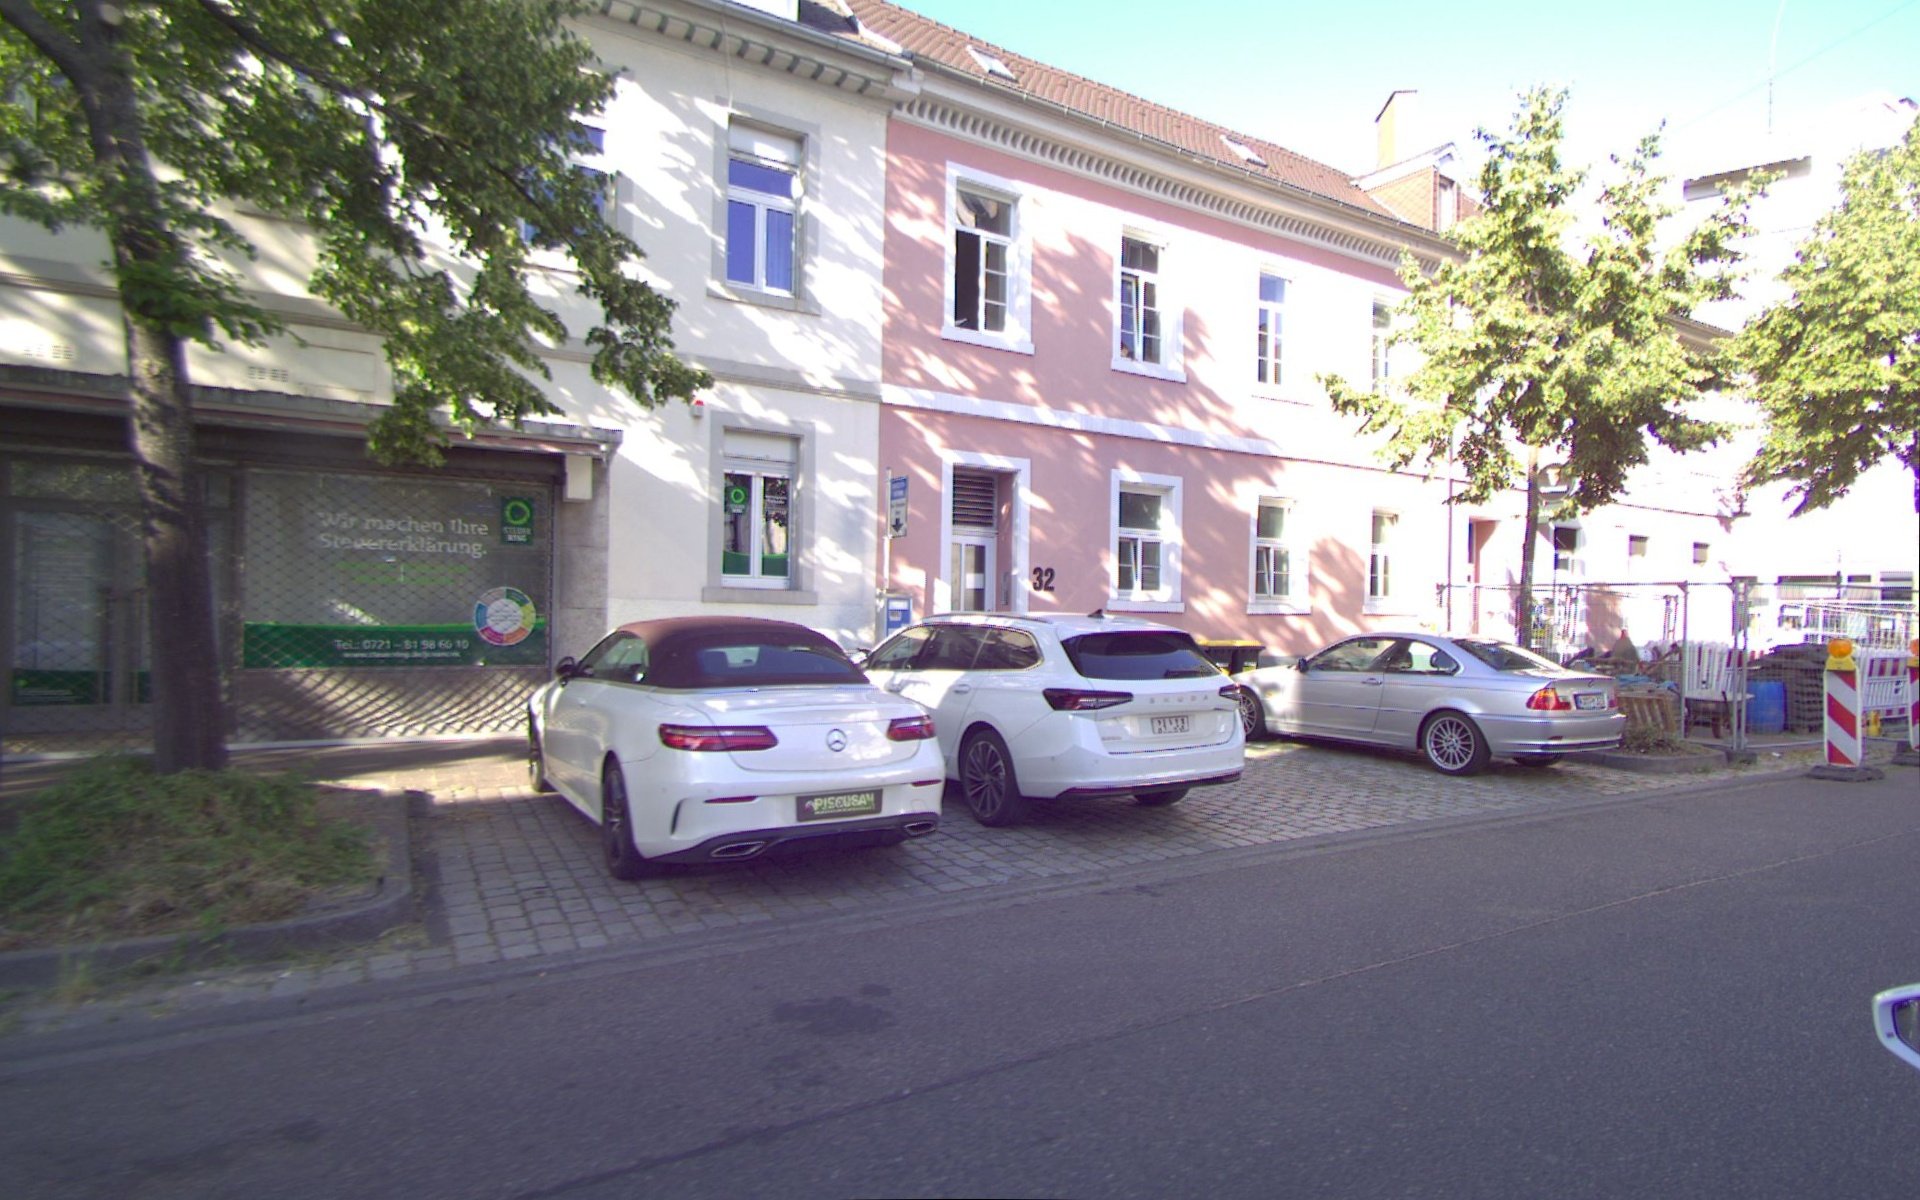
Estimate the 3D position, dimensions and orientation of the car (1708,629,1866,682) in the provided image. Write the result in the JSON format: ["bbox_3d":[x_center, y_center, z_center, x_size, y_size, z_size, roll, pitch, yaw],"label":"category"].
[{"bbox_3d":[27.287,1.795,33.281,3.939,1.632,1.991,-1,-2,39],"label":"car"}]

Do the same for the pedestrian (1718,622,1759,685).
[{"bbox_3d":[21.436,1.464,27.649,0.646,1.690,0.654,1,-1,-19],"label":"pedestrian"}]

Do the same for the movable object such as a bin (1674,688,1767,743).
[{"bbox_3d":[9.995,1.502,13.199,1.065,0.624,0.624,1,-2,-31],"label":"movable object such as a bin"}]

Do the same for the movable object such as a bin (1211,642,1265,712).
[{"bbox_3d":[4.397,1.203,15.898,0.538,1.074,0.629,1,-2,-29],"label":"movable object such as a bin"}]

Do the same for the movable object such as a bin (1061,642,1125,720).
[{"bbox_3d":[1.910,1.148,14.443,0.632,1.074,0.692,1,-2,-29],"label":"movable object such as a bin"}]

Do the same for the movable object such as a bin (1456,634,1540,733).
[{"bbox_3d":[6.880,1.042,12.849,0.739,1.202,0.725,1,-2,-39],"label":"movable object such as a bin"}]

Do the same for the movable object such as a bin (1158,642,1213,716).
[{"bbox_3d":[3.432,1.189,15.316,0.538,1.074,0.629,1,-2,-29],"label":"movable object such as a bin"}]

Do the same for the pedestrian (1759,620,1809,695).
[{"bbox_3d":[18.712,1.293,22.809,0.803,1.675,0.608,1,-1,-27],"label":"pedestrian"}]

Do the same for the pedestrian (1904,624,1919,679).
[{"bbox_3d":[29.797,1.591,31.017,0.680,1.665,0.769,1,-1,-25],"label":"pedestrian"}]

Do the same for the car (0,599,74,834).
[{"bbox_3d":[-6.451,0.728,5.152,1.786,1.483,4.661,1,-1,-28],"label":"car"}]

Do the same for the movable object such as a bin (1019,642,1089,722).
[{"bbox_3d":[1.311,1.129,14.082,0.723,1.074,0.692,1,-2,-29],"label":"movable object such as a bin"}]

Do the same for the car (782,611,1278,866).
[{"bbox_3d":[0.227,0.876,8.521,1.788,1.484,4.654,1,-1,-32],"label":"car"}]

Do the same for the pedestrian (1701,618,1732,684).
[{"bbox_3d":[20.884,1.401,27.732,0.646,1.783,0.654,0,-1,42],"label":"pedestrian"}]

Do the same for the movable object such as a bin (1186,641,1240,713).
[{"bbox_3d":[3.924,1.183,15.604,0.538,1.074,0.629,1,-2,-29],"label":"movable object such as a bin"}]

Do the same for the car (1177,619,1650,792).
[{"bbox_3d":[4.771,0.992,11.336,1.788,1.431,4.654,1,-1,-32],"label":"car"}]

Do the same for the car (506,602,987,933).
[{"bbox_3d":[-1.854,0.792,7.057,1.788,1.484,4.654,1,-1,-32],"label":"car"}]

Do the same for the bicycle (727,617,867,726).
[{"bbox_3d":[-1.969,0.845,12.244,1.610,1.261,0.501,1,-2,-31],"label":"bicycle"}]

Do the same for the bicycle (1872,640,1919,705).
[{"bbox_3d":[19.578,1.482,20.170,0.591,1.269,1.786,1,0,-18],"label":"bicycle"}]

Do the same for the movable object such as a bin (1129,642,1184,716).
[{"bbox_3d":[2.938,1.171,15.053,0.538,1.074,0.629,1,-2,-29],"label":"movable object such as a bin"}]

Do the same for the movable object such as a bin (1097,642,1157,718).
[{"bbox_3d":[2.452,1.159,14.752,0.567,1.074,0.692,1,-2,-29],"label":"movable object such as a bin"}]
